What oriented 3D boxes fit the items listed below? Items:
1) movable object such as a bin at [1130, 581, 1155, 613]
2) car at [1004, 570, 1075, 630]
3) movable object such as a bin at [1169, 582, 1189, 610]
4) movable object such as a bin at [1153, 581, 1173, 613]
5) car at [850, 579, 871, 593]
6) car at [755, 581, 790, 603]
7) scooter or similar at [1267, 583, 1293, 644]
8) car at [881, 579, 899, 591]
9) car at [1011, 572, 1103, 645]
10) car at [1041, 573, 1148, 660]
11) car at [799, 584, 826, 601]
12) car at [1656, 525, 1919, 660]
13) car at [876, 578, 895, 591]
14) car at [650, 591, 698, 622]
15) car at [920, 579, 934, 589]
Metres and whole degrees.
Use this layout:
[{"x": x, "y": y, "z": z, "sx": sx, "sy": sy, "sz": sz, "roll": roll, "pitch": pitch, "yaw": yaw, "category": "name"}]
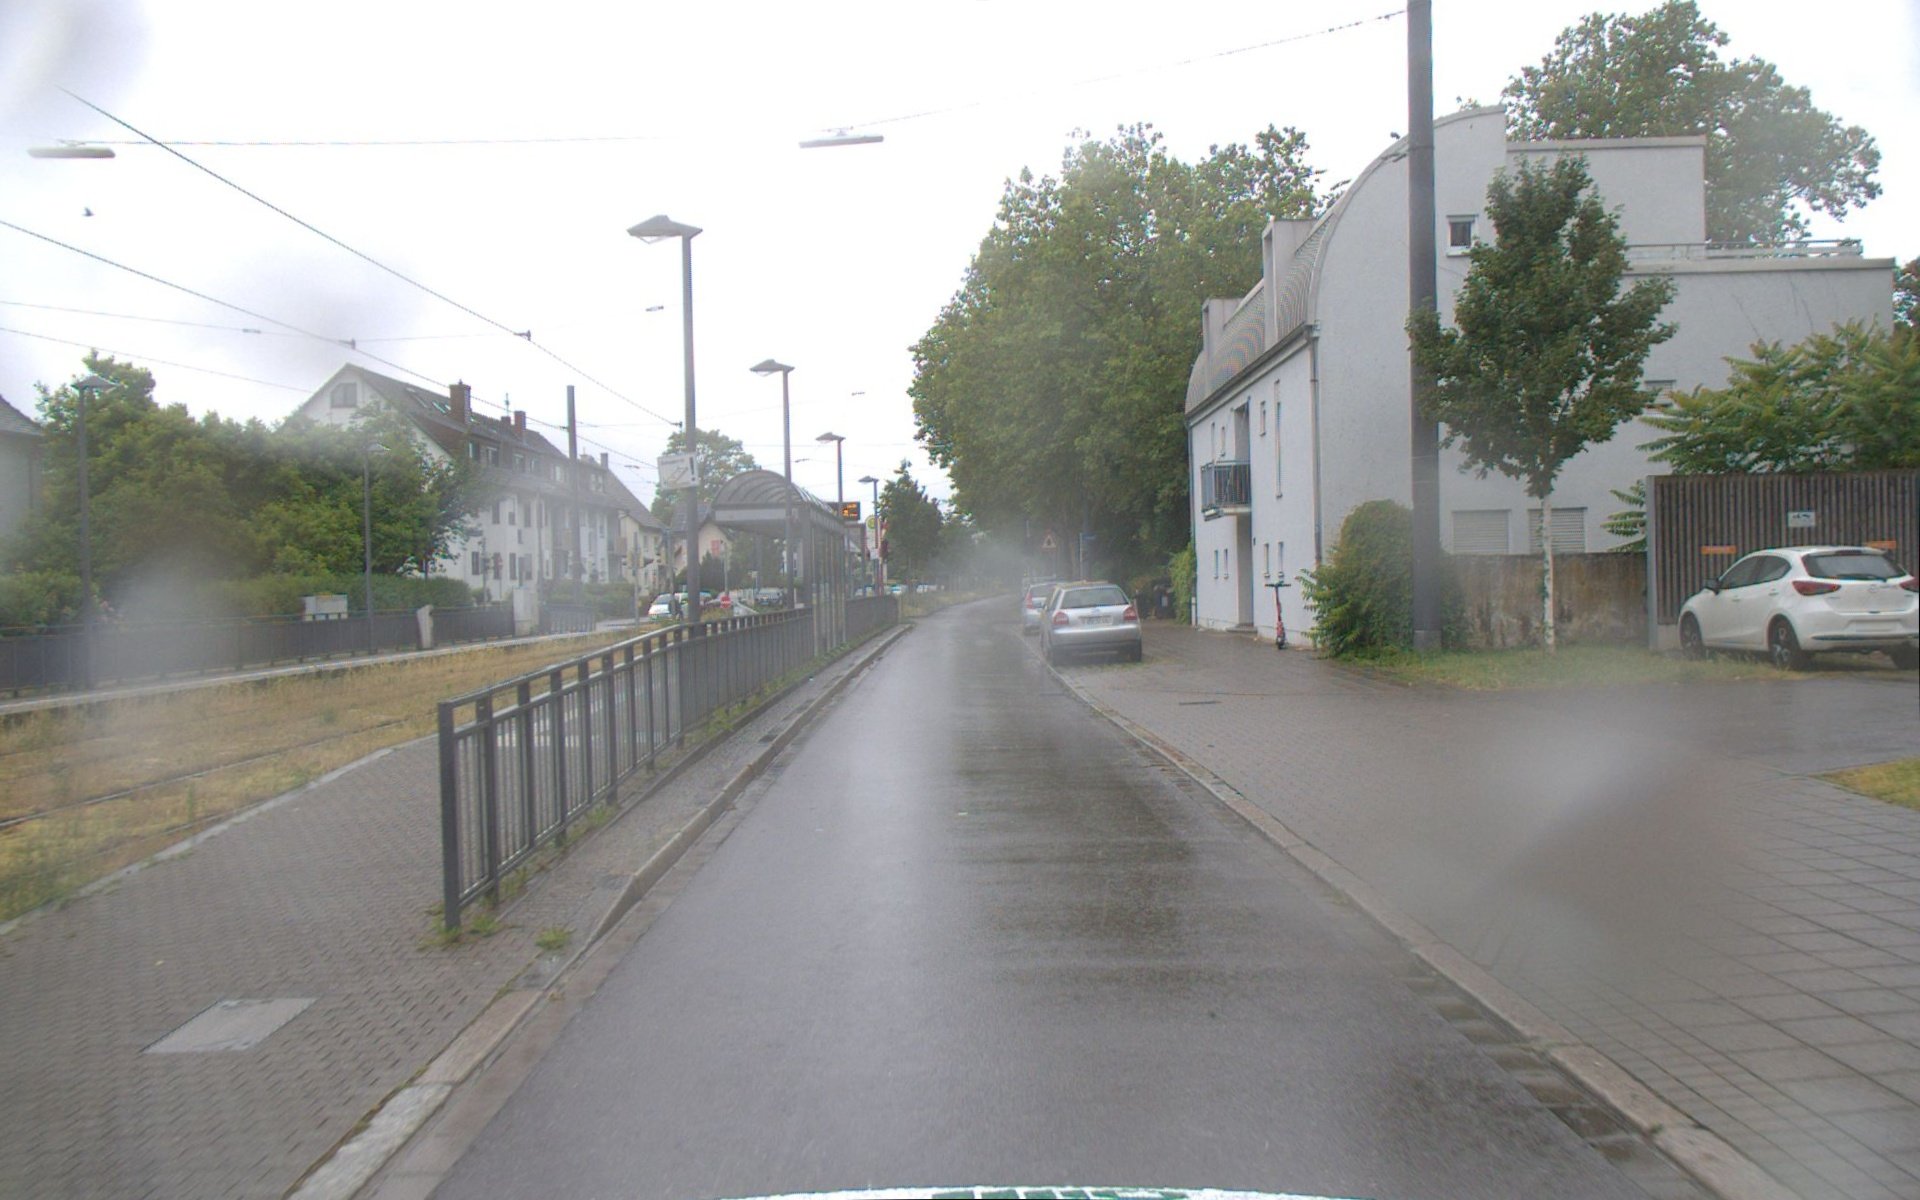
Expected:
[{"x": 6.319, "y": -0.111, "z": 57.270, "sx": 0.678, "sy": 1.039, "sz": 0.824, "roll": -4, "pitch": 0, "yaw": -1, "category": "movable object such as a bin"}, {"x": 2.244, "y": 0.005, "z": 47.565, "sx": 1.770, "sy": 1.493, "sz": 3.794, "roll": -5, "pitch": 0, "yaw": 0, "category": "car"}, {"x": 7.480, "y": -0.152, "z": 56.468, "sx": 0.525, "sy": 0.914, "sz": 0.738, "roll": -4, "pitch": 0, "yaw": -1, "category": "movable object such as a bin"}, {"x": 6.933, "y": -0.113, "z": 56.605, "sx": 0.525, "sy": 1.039, "sz": 0.738, "roll": -4, "pitch": 0, "yaw": -1, "category": "movable object such as a bin"}, {"x": -11.134, "y": -1.577, "z": 185.114, "sx": 1.888, "sy": 1.512, "sz": 4.002, "roll": -1, "pitch": 0, "yaw": 3, "category": "car"}, {"x": -13.641, "y": -0.577, "z": 120.351, "sx": 1.888, "sy": 1.512, "sz": 4.002, "roll": -1, "pitch": 0, "yaw": 3, "category": "car"}, {"x": 5.948, "y": 0.238, "z": 30.758, "sx": 0.326, "sy": 1.104, "sz": 1.396, "roll": -1, "pitch": 0, "yaw": 5, "category": "scooter or similar"}, {"x": -9.231, "y": -1.945, "z": 218.603, "sx": 1.888, "sy": 1.512, "sz": 4.002, "roll": -1, "pitch": 0, "yaw": 3, "category": "car"}, {"x": 2.147, "y": 0.187, "z": 37.510, "sx": 1.770, "sy": 1.429, "sz": 3.794, "roll": -5, "pitch": 0, "yaw": 0, "category": "car"}, {"x": 2.514, "y": 0.298, "z": 31.887, "sx": 1.617, "sy": 1.429, "sz": 4.649, "roll": -5, "pitch": 0, "yaw": 0, "category": "car"}, {"x": -13.364, "y": -0.687, "z": 150.091, "sx": 1.888, "sy": 1.512, "sz": 4.002, "roll": -1, "pitch": 0, "yaw": 3, "category": "car"}, {"x": 10.881, "y": -0.147, "z": 21.510, "sx": 1.922, "sy": 1.561, "sz": 4.365, "roll": -1, "pitch": 1, "yaw": 1, "category": "car"}, {"x": -9.347, "y": -1.910, "z": 207.361, "sx": 1.888, "sy": 1.512, "sz": 4.002, "roll": -1, "pitch": 0, "yaw": 3, "category": "car"}, {"x": -14.226, "y": 0.310, "z": 82.500, "sx": 1.599, "sy": 1.519, "sz": 4.000, "roll": -1, "pitch": 0, "yaw": 1, "category": "car"}, {"x": -4.974, "y": -2.388, "z": 249.326, "sx": 1.888, "sy": 1.512, "sz": 4.002, "roll": -1, "pitch": 0, "yaw": 3, "category": "car"}]
